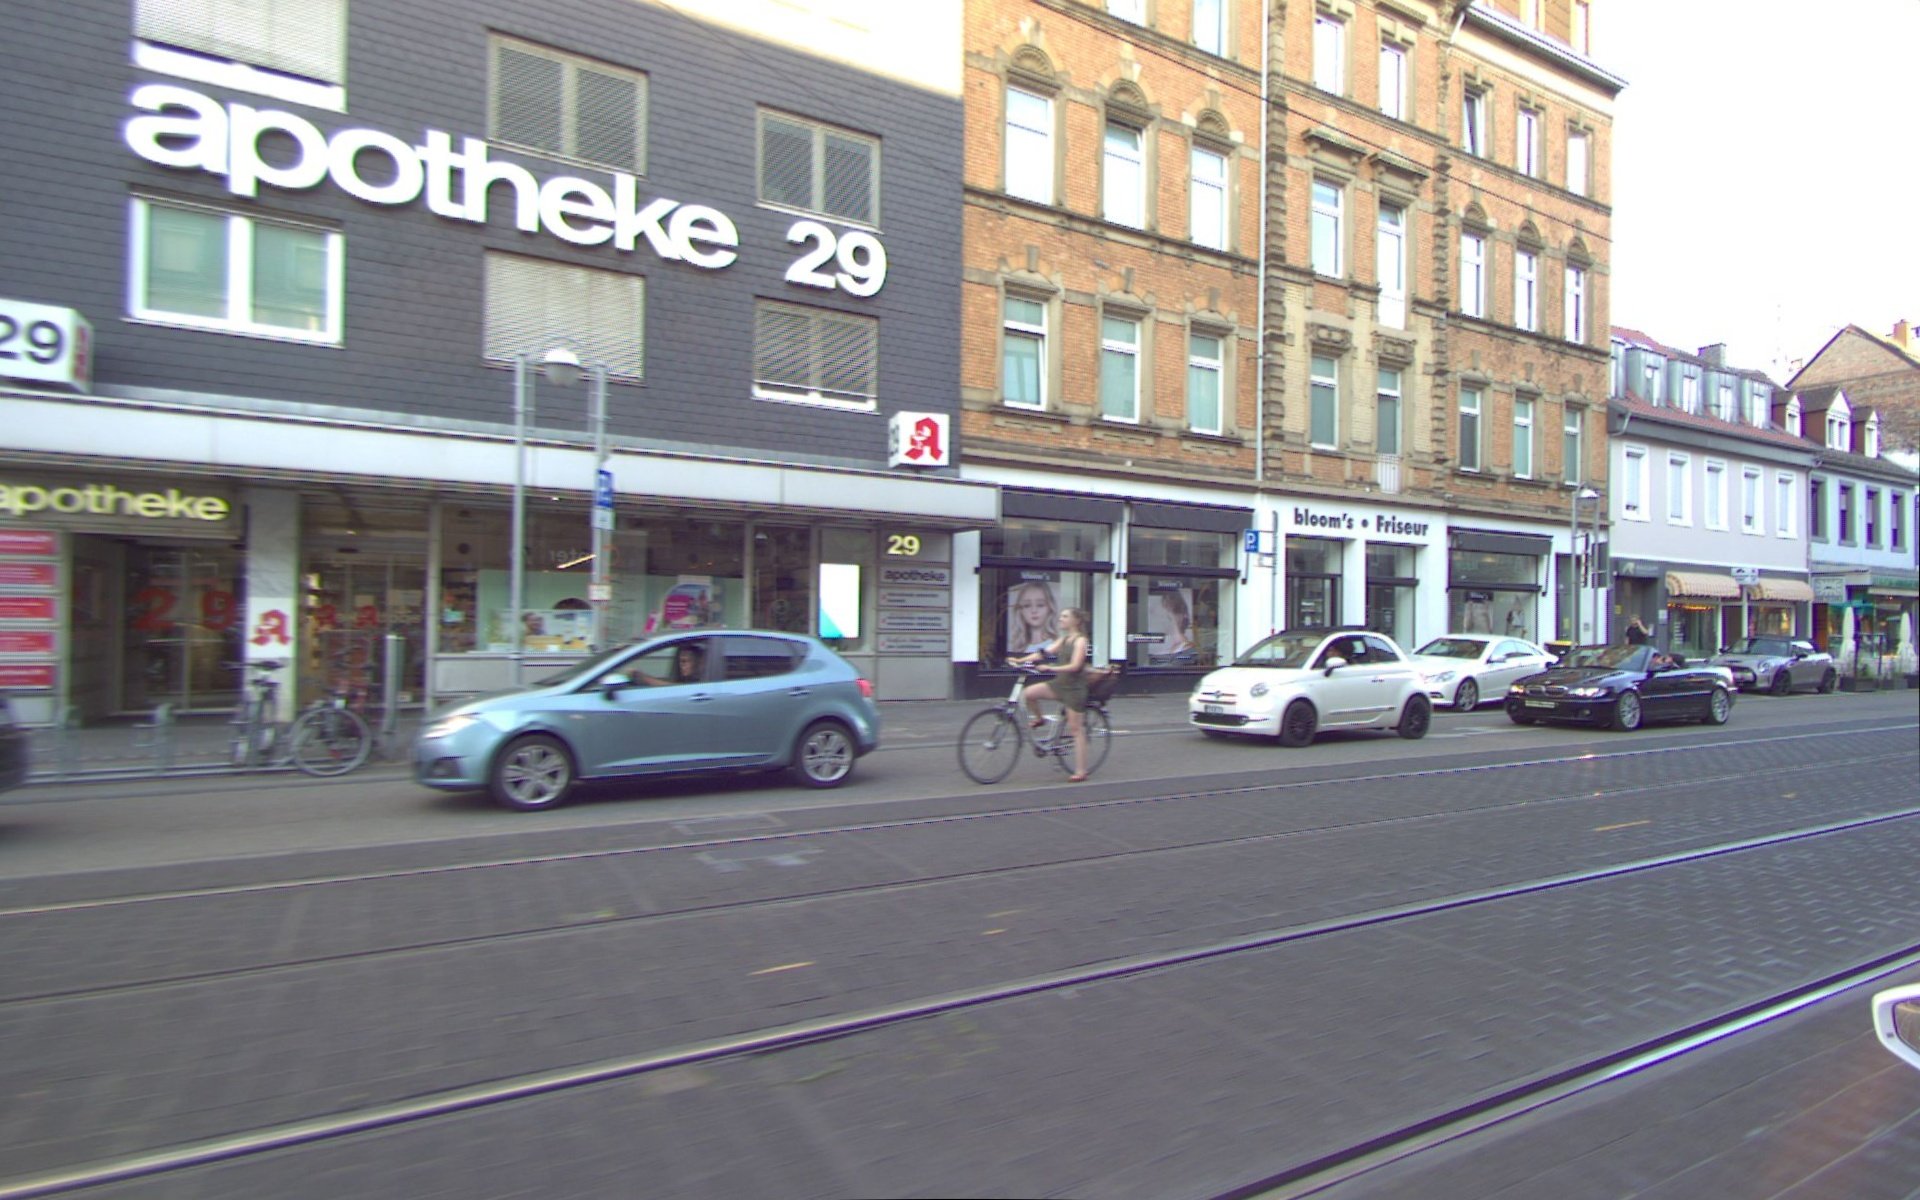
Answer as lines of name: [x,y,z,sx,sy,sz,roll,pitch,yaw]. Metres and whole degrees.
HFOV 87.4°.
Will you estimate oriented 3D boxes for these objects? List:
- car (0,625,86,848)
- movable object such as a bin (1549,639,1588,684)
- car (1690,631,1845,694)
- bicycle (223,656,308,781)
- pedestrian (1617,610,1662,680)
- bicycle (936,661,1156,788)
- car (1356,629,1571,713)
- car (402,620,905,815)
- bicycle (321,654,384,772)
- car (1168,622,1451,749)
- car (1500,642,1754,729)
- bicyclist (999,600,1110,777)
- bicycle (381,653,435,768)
car: [-8.355,0.852,5.886,4.507,1.404,1.907,1,-4,-28]
movable object such as a bin: [15.885,1.605,26.216,0.720,1.146,0.588,1,-1,-28]
car: [20.655,1.563,25.688,3.816,1.408,1.726,1,1,-28]
bicycle: [-7.058,1.154,10.268,0.486,0.997,1.848,1,2,-28]
pedestrian: [18.059,1.182,26.697,0.844,1.796,0.645,1,0,-28]
bicycle: [0.837,1.121,9.480,2.057,1.047,0.690,1,-1,-31]
car: [9.874,1.324,19.618,4.225,1.408,1.750,1,1,-31]
car: [-2.670,0.939,9.004,4.010,1.404,1.752,1,-3,-28]
bicycle: [-6.443,1.152,10.702,0.457,0.997,1.848,1,2,-28]
car: [4.803,1.110,13.736,3.636,1.525,1.660,1,-3,-29]
car: [10.781,1.314,16.184,4.222,1.244,1.660,1,-4,-30]
bicyclist: [0.891,0.801,9.507,0.790,1.586,0.690,1,-1,-30]
bicycle: [-6.001,1.153,10.955,0.457,0.997,1.848,1,2,-28]
